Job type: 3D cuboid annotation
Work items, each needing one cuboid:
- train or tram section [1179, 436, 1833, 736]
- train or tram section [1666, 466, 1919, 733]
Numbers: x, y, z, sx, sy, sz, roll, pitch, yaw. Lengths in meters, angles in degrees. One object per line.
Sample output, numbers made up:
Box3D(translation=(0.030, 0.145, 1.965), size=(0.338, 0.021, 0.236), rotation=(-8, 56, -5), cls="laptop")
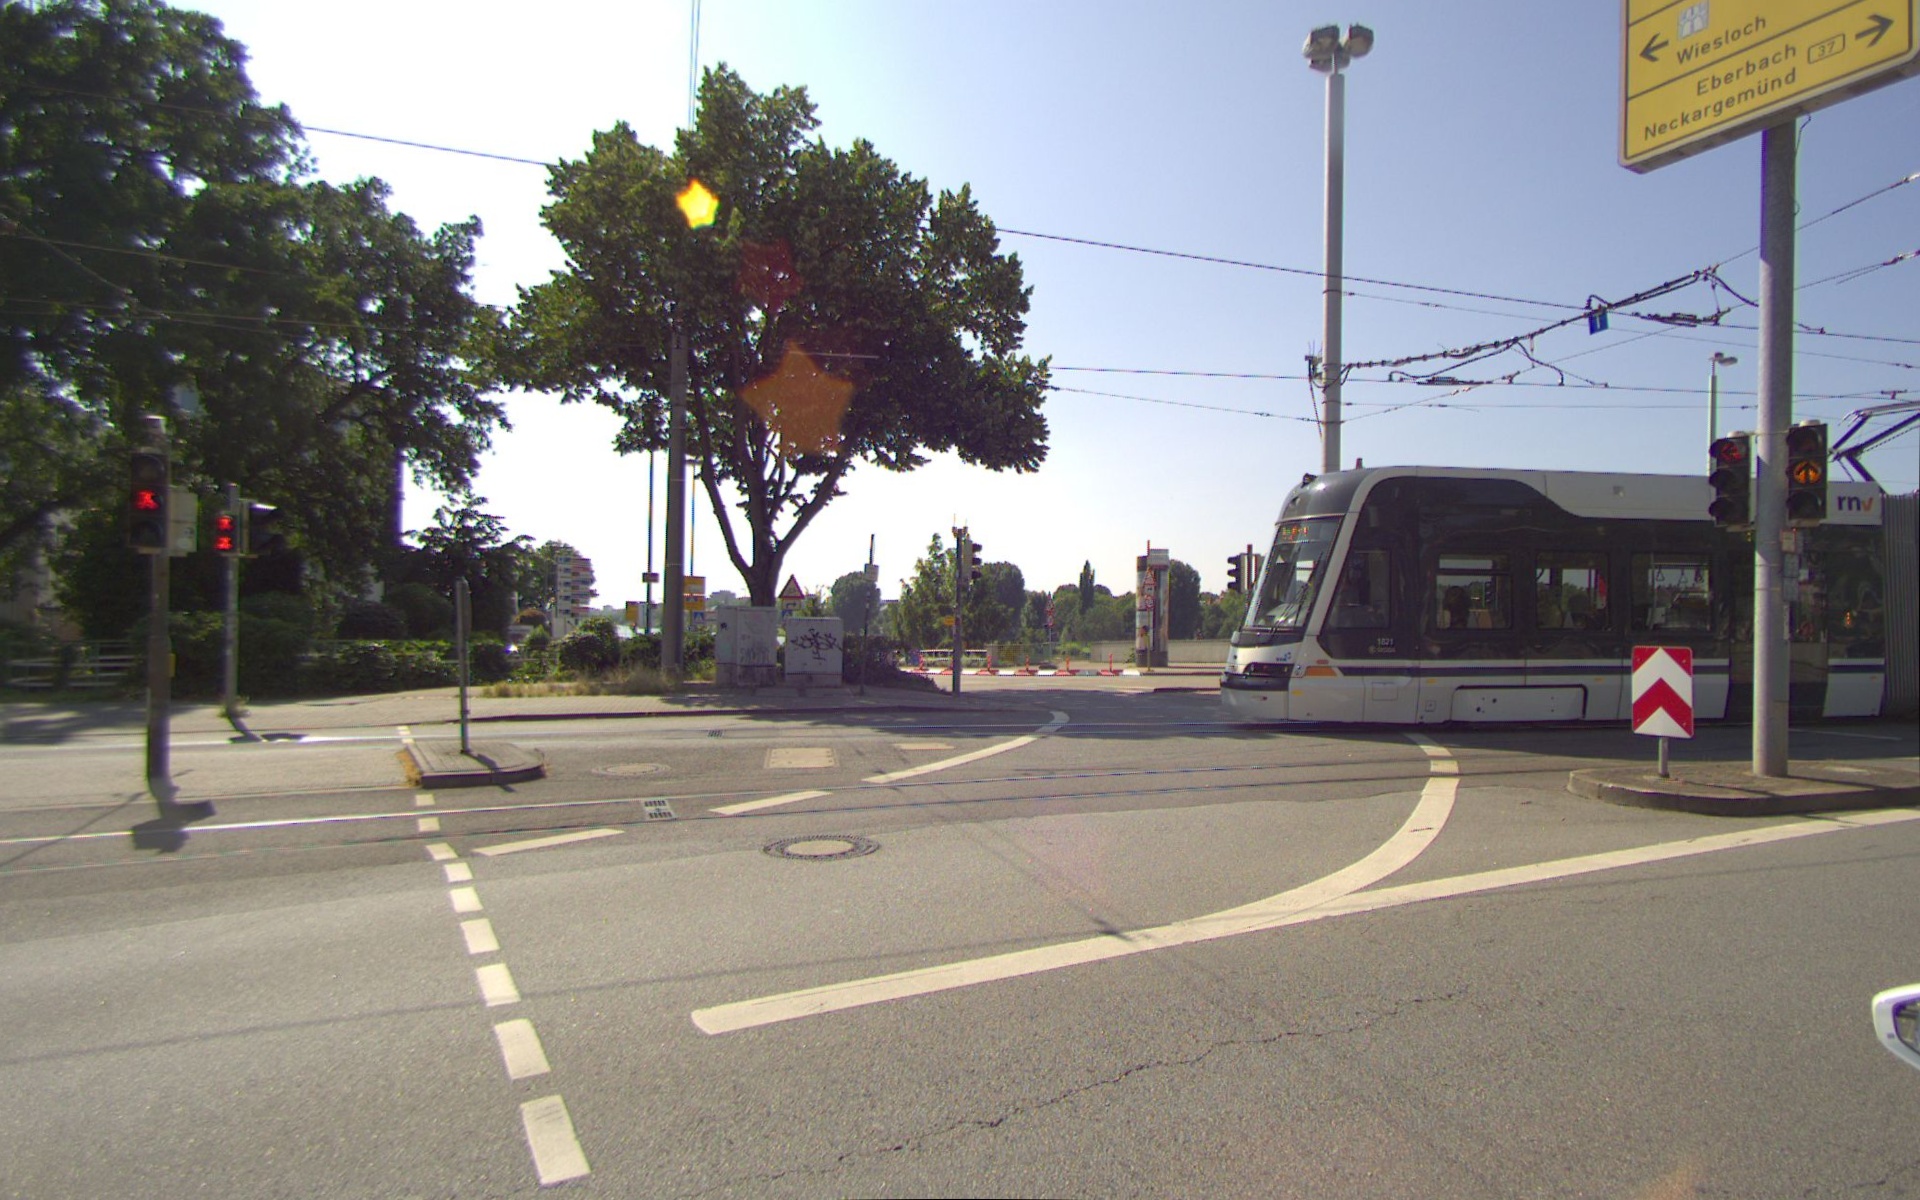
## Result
Box3D(translation=(8.004, -0.141, 14.964), size=(9.006, 3.827, 2.541), rotation=(0, -1, -11), cls="train or tram section")
Box3D(translation=(16.463, 0.029, 17.309), size=(9.035, 3.827, 2.532), rotation=(0, -1, -22), cls="train or tram section")
